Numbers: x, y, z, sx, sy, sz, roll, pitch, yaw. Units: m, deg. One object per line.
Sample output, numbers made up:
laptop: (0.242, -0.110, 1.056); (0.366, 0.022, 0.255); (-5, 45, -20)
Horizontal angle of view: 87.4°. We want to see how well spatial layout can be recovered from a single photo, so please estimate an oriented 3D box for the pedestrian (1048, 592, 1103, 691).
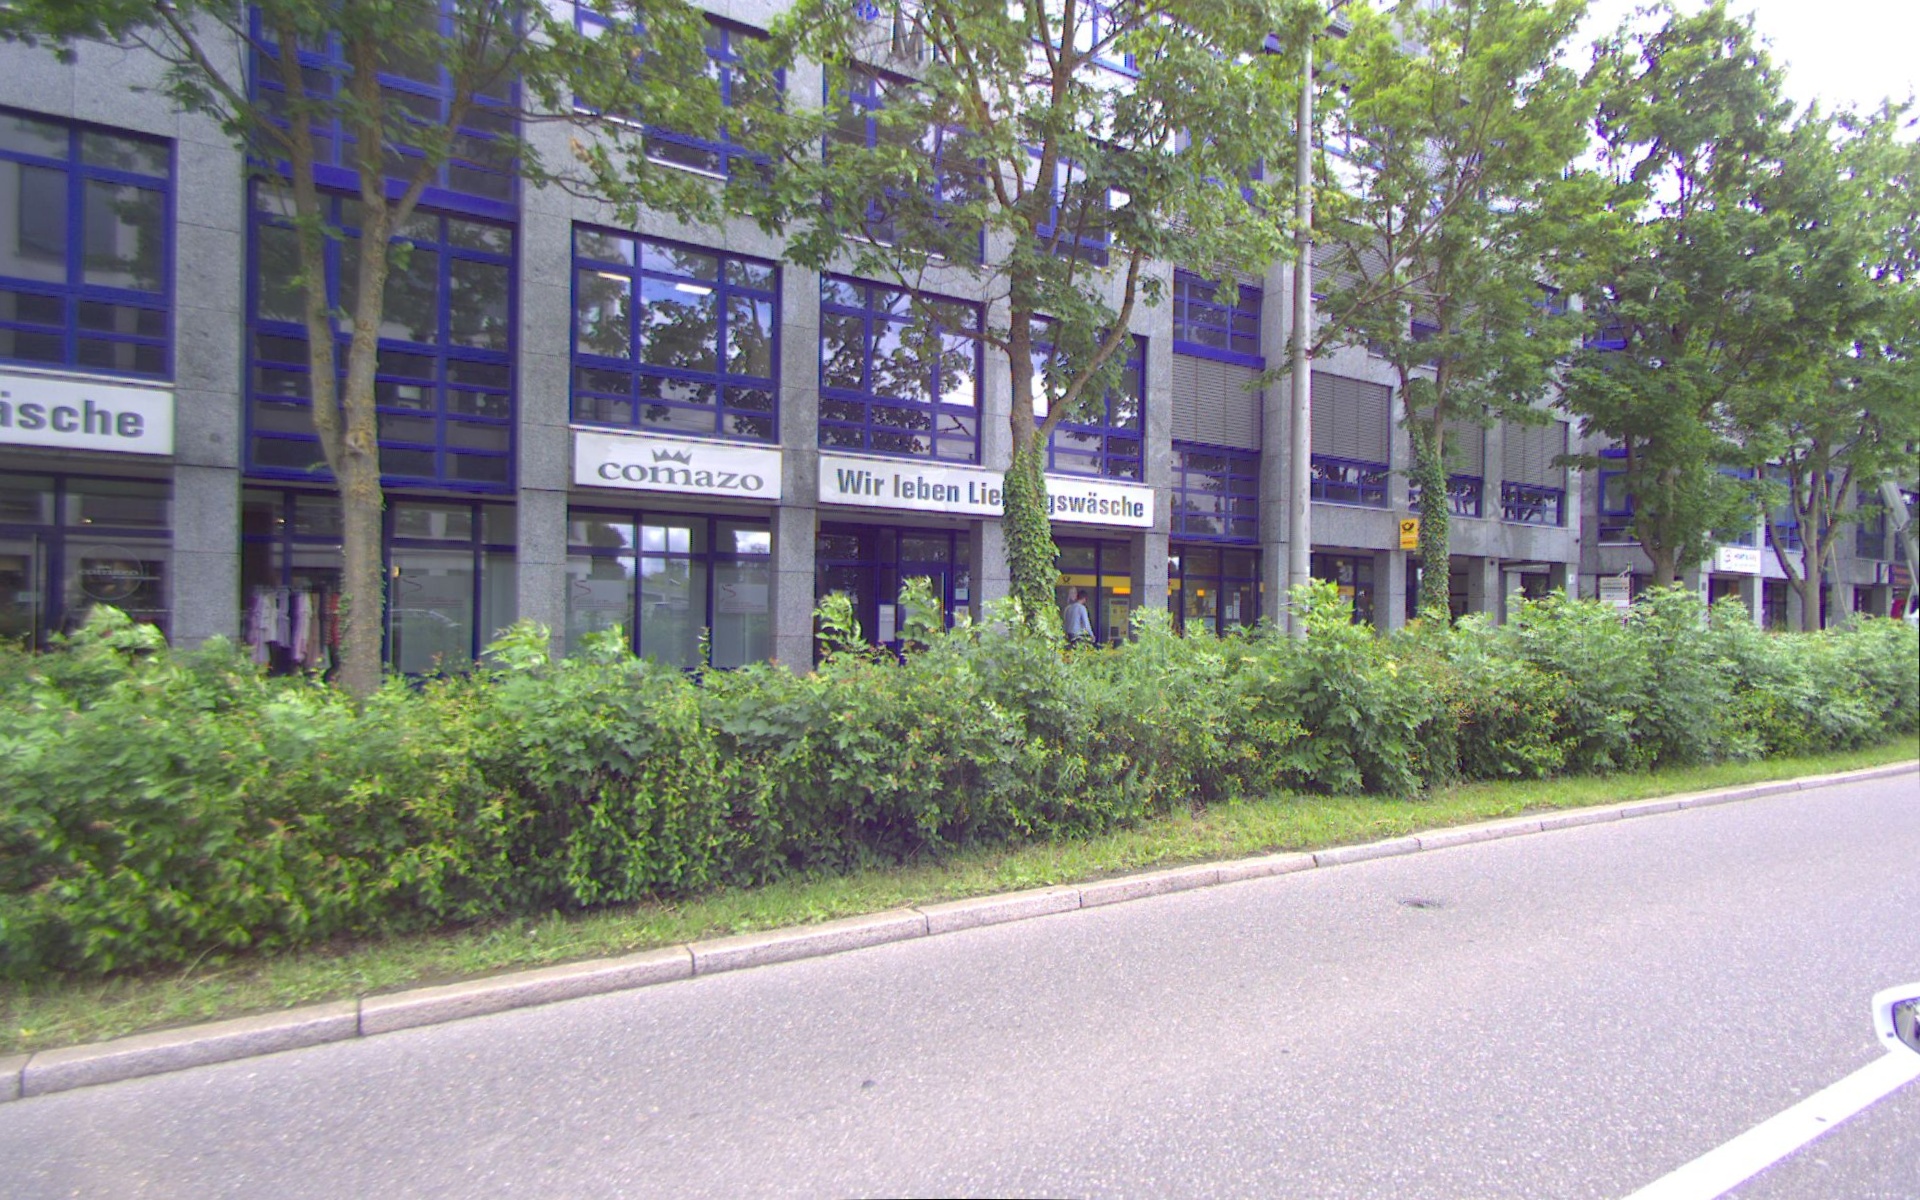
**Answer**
pedestrian: (2.291, 0.809, 19.979); (0.723, 1.919, 0.771); (2, 0, -30)
